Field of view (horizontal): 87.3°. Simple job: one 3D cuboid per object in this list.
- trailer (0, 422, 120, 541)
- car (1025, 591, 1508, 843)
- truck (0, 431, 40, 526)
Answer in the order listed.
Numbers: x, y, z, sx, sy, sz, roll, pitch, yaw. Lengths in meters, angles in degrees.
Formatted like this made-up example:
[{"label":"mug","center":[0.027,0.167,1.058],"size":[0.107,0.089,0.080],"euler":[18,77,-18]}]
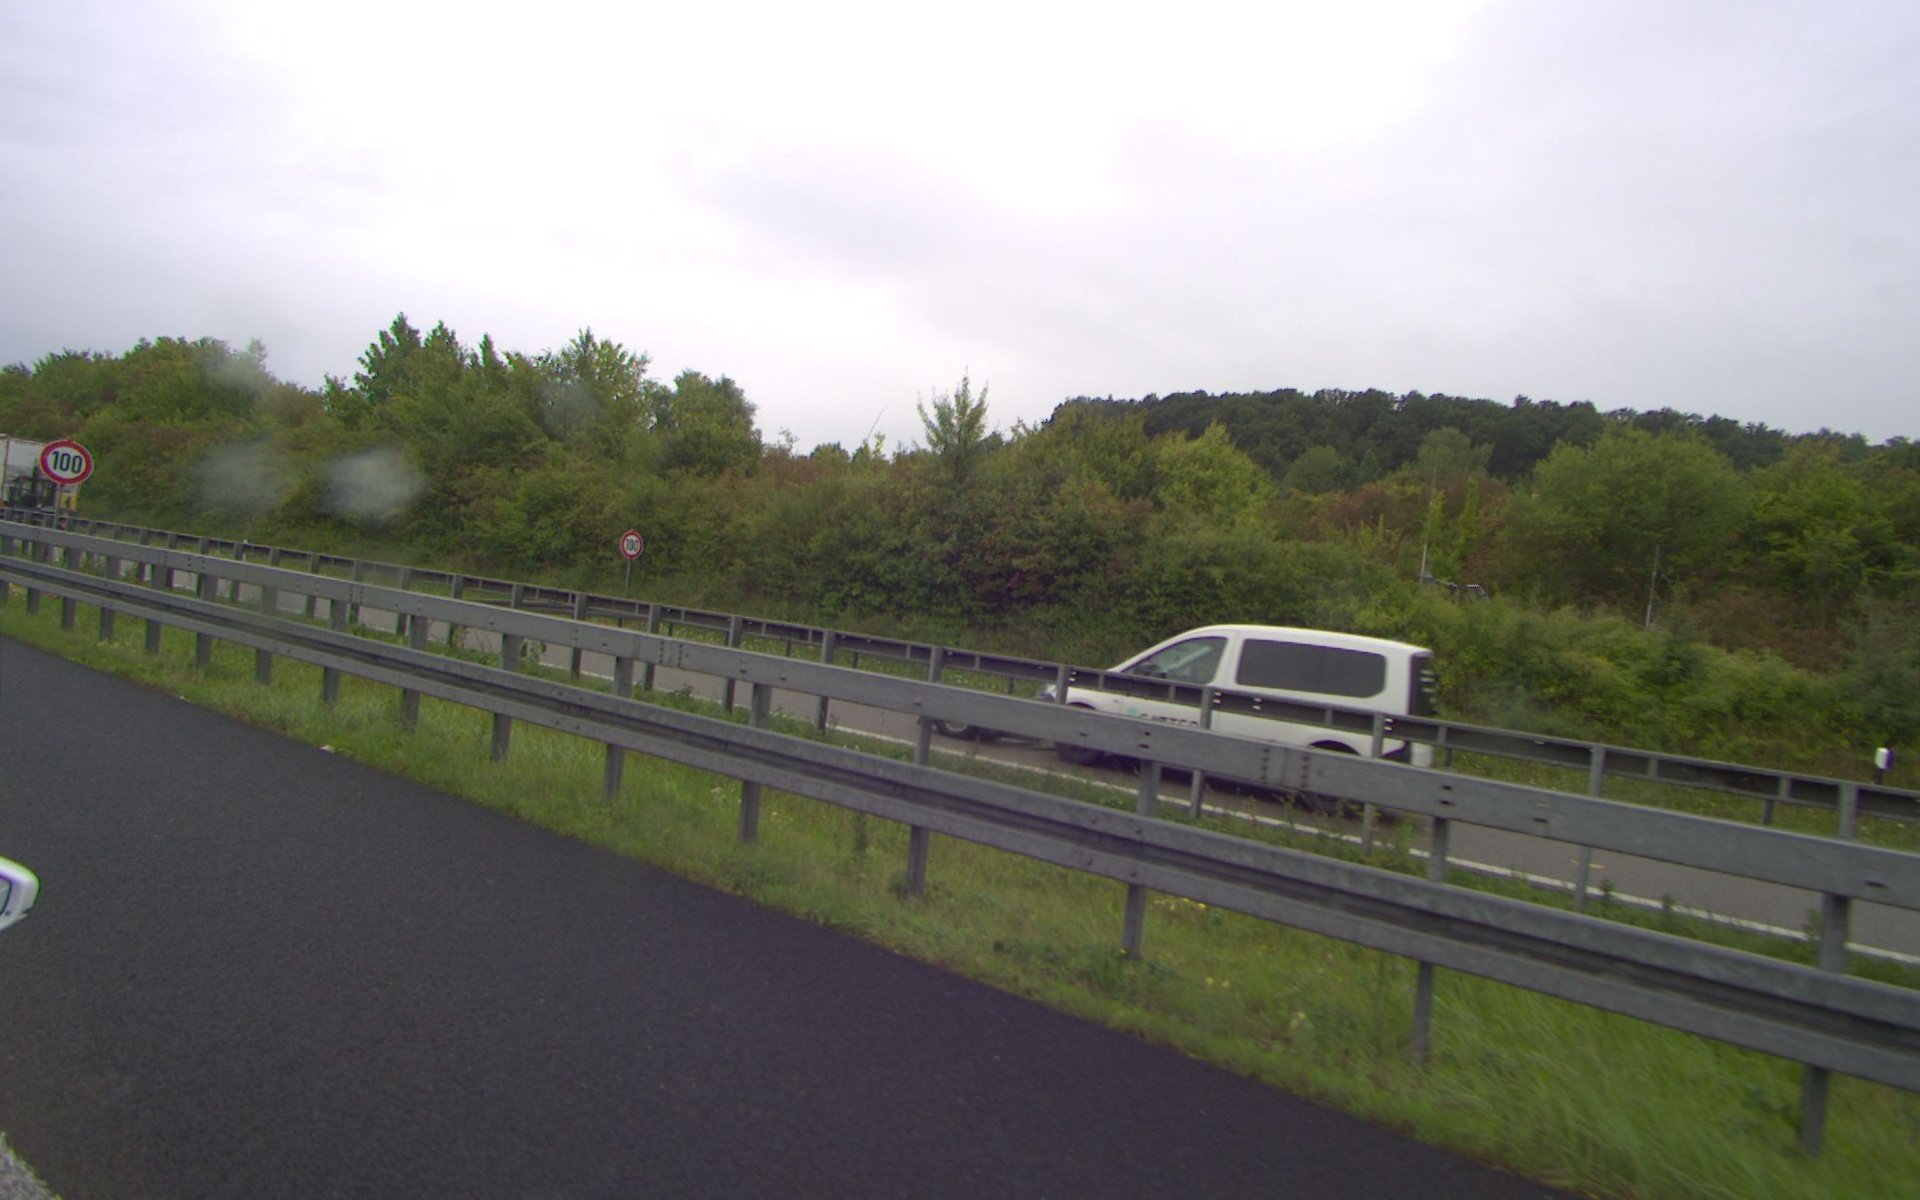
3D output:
[{"label":"trailer","center":[-41.764,-5.380,44.798],"size":[10.283,4.341,3.442],"euler":[7,-1,33]},{"label":"car","center":[3.254,1.114,10.951],"size":[4.569,1.827,1.863],"euler":[7,-1,31]},{"label":"truck","center":[-50.304,-6.438,50.376],"size":[10.247,4.341,3.442],"euler":[7,-1,33]}]
